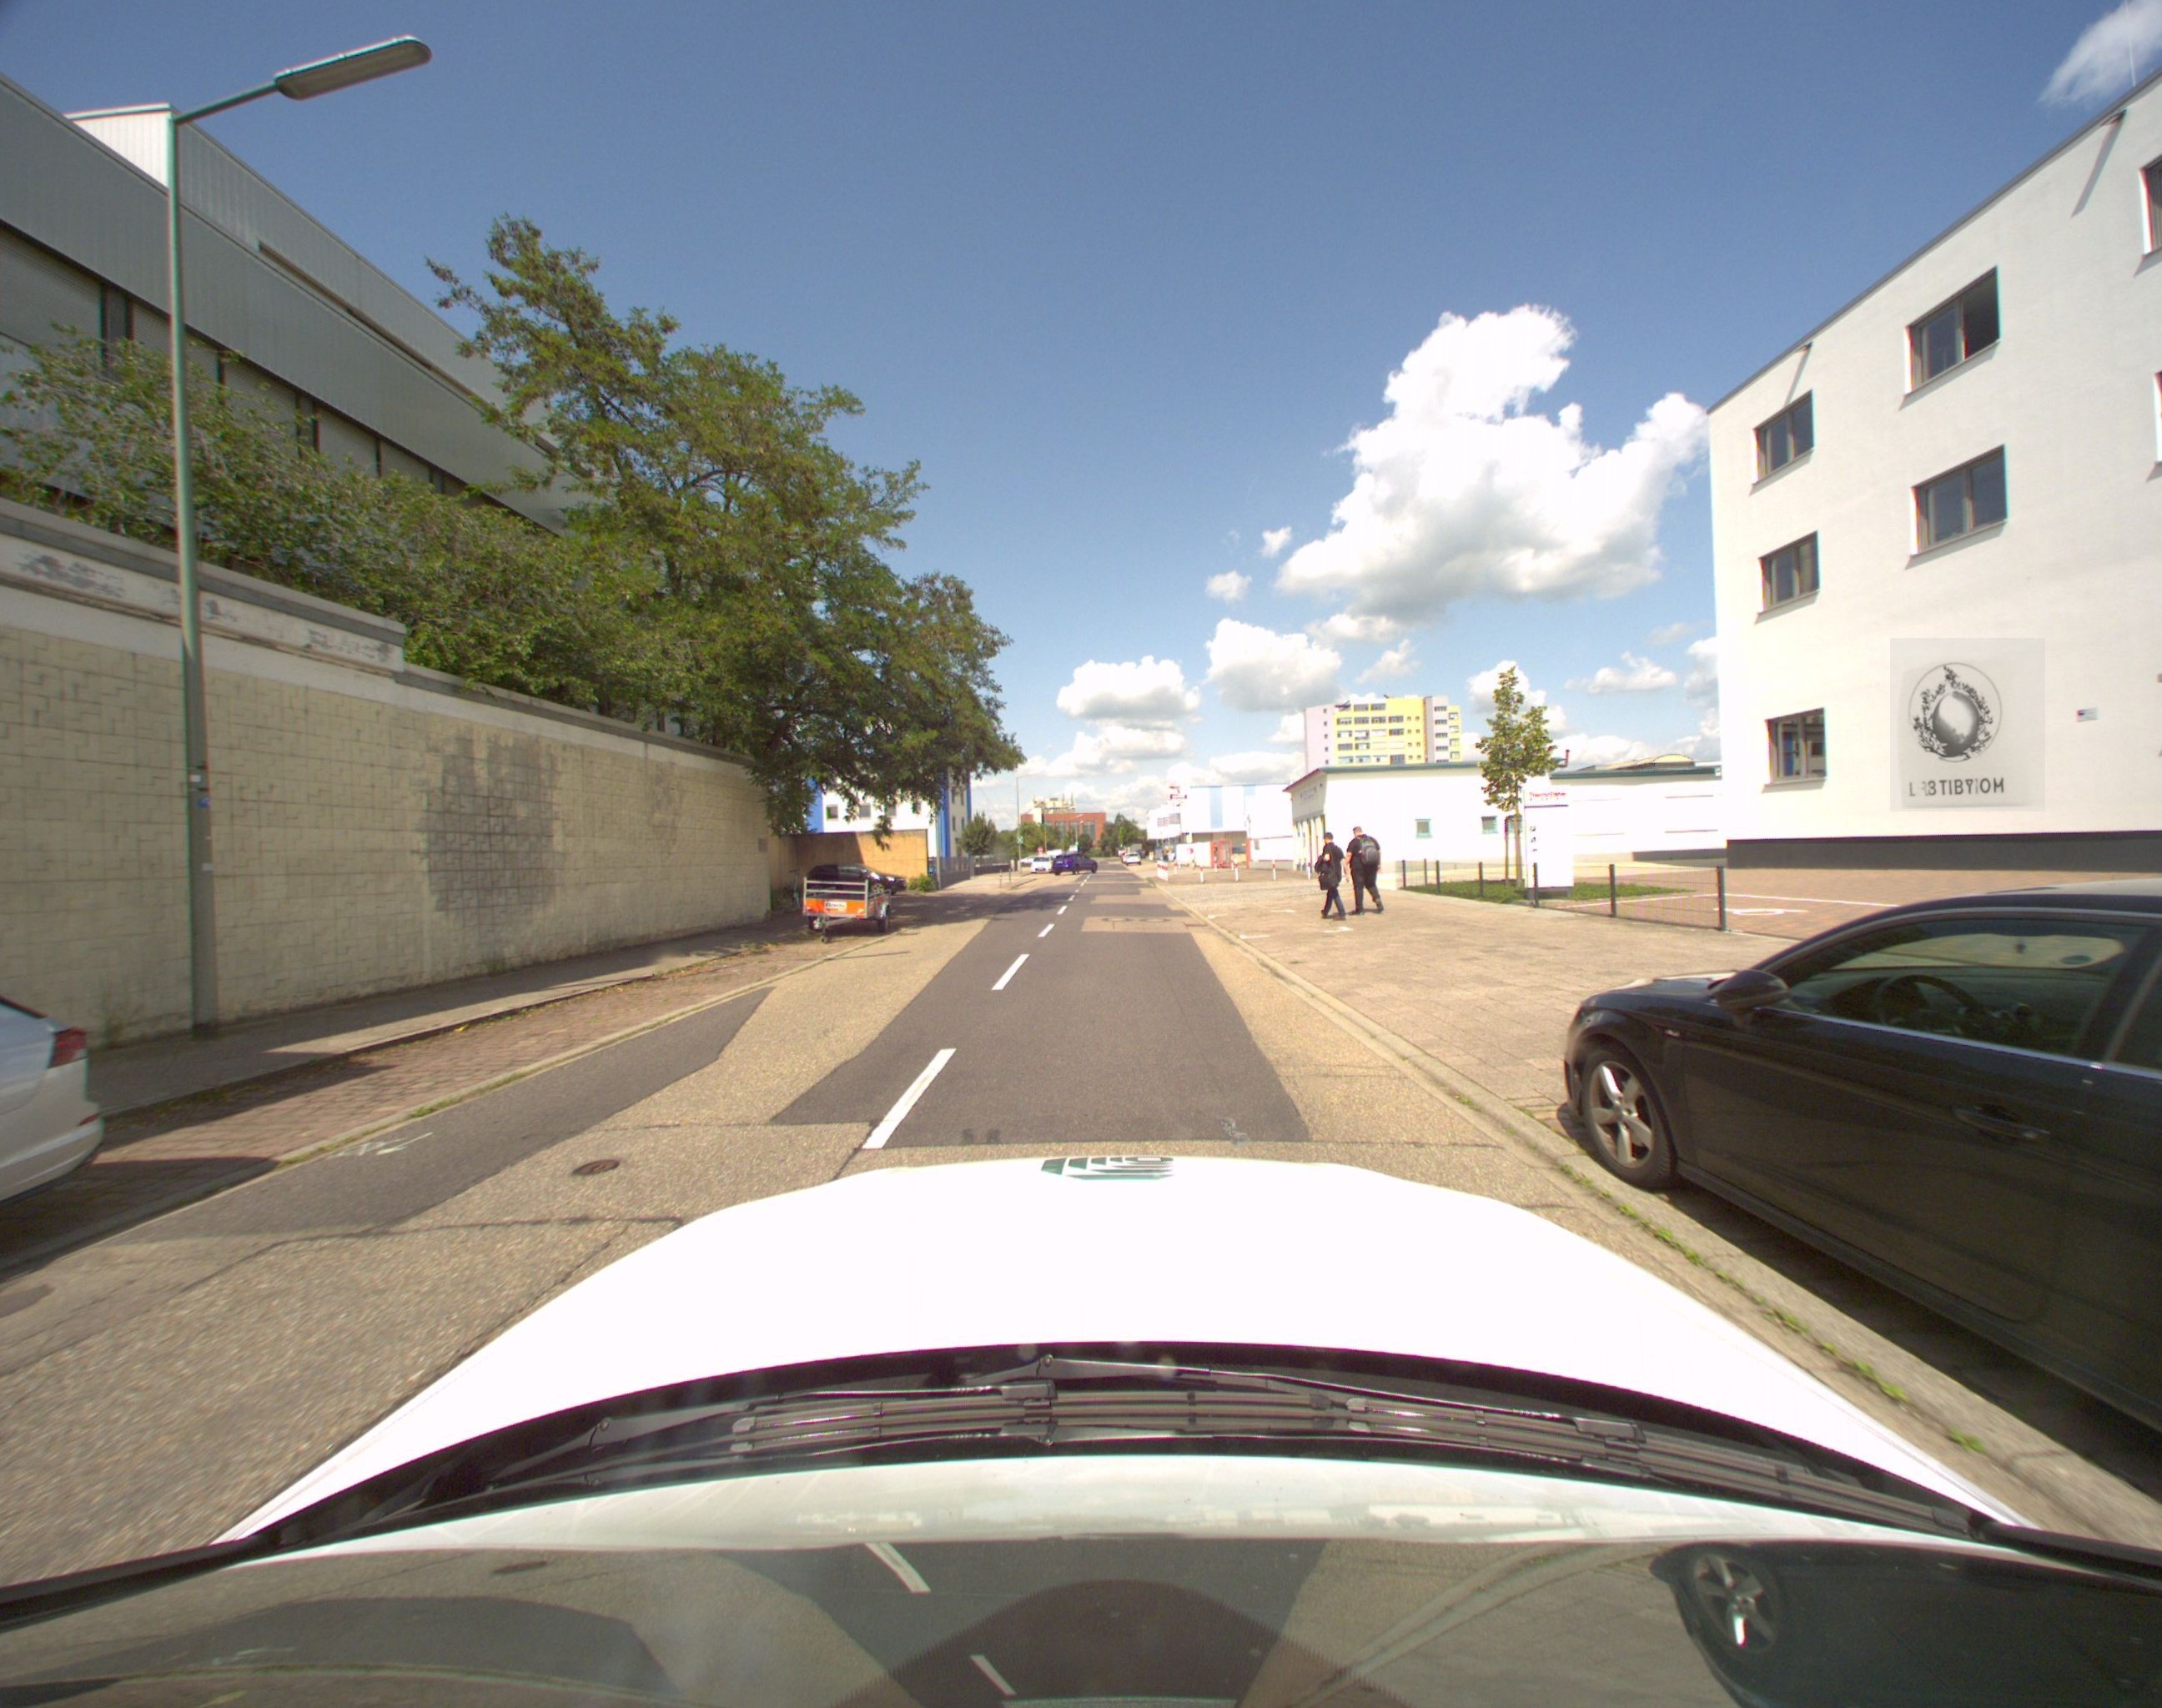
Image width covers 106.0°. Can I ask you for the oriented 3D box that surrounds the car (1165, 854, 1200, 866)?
[{"bbox_3d":[13.177,0.763,105.833,4.263,1.420,2.001,-3,0,2],"label":"car"}]

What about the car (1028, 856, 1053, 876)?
[{"bbox_3d":[-3.594,1.038,73.278,1.861,1.708,4.754,-1,0,1],"label":"car"}]

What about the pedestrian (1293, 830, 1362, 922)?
[{"bbox_3d":[5.064,0.440,16.780,0.860,1.807,0.998,-3,0,-21],"label":"pedestrian"}]

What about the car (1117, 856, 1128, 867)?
[{"bbox_3d":[6.702,1.249,131.458,1.747,1.650,4.682,-2,0,4],"label":"car"}]

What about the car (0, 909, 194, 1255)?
[{"bbox_3d":[-5.575,1.012,2.039,1.667,1.455,4.515,0,0,2],"label":"car"}]

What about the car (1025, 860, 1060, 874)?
[{"bbox_3d":[-5.245,1.746,112.127,4.743,1.602,1.998,-4,0,-2],"label":"car"}]

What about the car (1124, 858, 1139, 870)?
[{"bbox_3d":[6.941,1.330,112.673,1.828,1.520,4.462,-2,0,1],"label":"car"}]

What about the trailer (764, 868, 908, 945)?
[{"bbox_3d":[-5.297,1.076,18.216,1.760,1.439,4.337,0,0,2],"label":"trailer"}]

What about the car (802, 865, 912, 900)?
[{"bbox_3d":[-9.282,1.169,33.936,3.974,1.362,1.796,-1,-1,4],"label":"car"}]

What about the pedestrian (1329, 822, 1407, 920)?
[{"bbox_3d":[6.033,0.355,17.165,0.993,1.951,1.083,-3,0,-21],"label":"pedestrian"}]

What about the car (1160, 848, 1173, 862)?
[{"bbox_3d":[15.638,0.185,149.055,1.916,2.464,5.262,-2,0,2],"label":"car"}]

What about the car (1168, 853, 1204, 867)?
[{"bbox_3d":[12.320,0.727,95.986,3.971,1.420,2.001,-3,0,2],"label":"car"}]

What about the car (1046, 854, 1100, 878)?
[{"bbox_3d":[-0.565,0.929,63.493,1.891,1.593,4.732,-3,0,32],"label":"car"}]

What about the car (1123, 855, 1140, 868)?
[{"bbox_3d":[6.105,0.958,99.633,1.861,1.520,4.599,-2,0,1],"label":"car"}]

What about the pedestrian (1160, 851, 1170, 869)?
[{"bbox_3d":[8.179,0.582,79.314,0.766,1.756,0.787,-4,-1,1],"label":"pedestrian"}]

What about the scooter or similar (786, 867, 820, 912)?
[{"bbox_3d":[-8.202,1.039,24.046,0.480,1.279,1.361,0,0,2],"label":"scooter or similar"}]

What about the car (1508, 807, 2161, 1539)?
[{"bbox_3d":[3.169,0.689,2.539,1.653,1.558,4.180,0,0,2],"label":"car"}]

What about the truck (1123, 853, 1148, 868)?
[{"bbox_3d":[14.810,1.778,219.976,2.298,3.567,9.427,-1,1,32],"label":"truck"}]
